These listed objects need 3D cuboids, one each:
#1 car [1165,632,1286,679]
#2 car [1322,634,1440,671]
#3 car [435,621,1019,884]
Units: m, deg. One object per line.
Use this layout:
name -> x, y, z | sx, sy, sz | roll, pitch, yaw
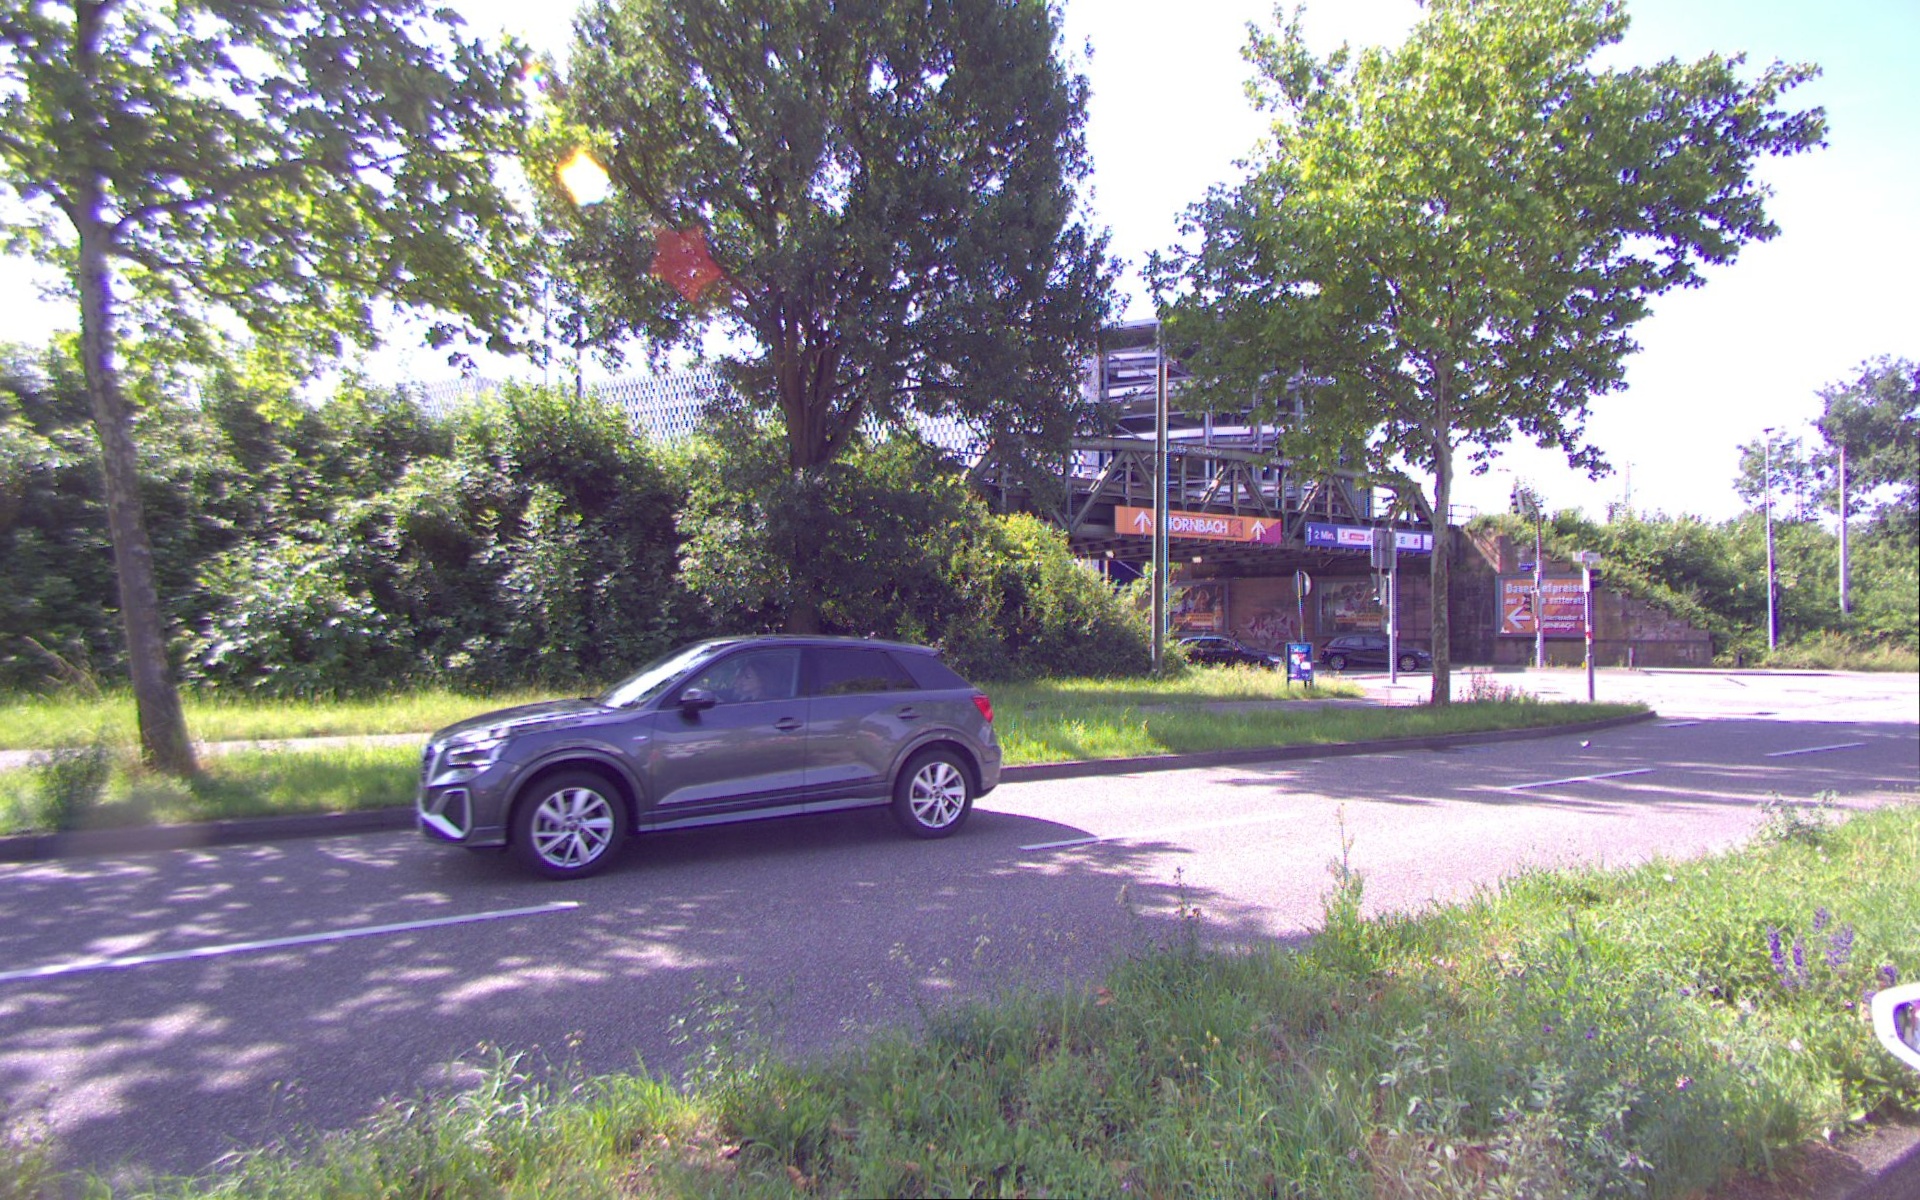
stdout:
car -> 9.359, 1.906, 35.449 | 3.869, 1.500, 1.822 | 1, -1, 25
car -> 16.885, 2.085, 40.347 | 4.253, 1.413, 1.770 | -1, -2, 24
car -> -1.672, 0.997, 7.549 | 3.894, 1.486, 1.854 | 3, -4, -32
